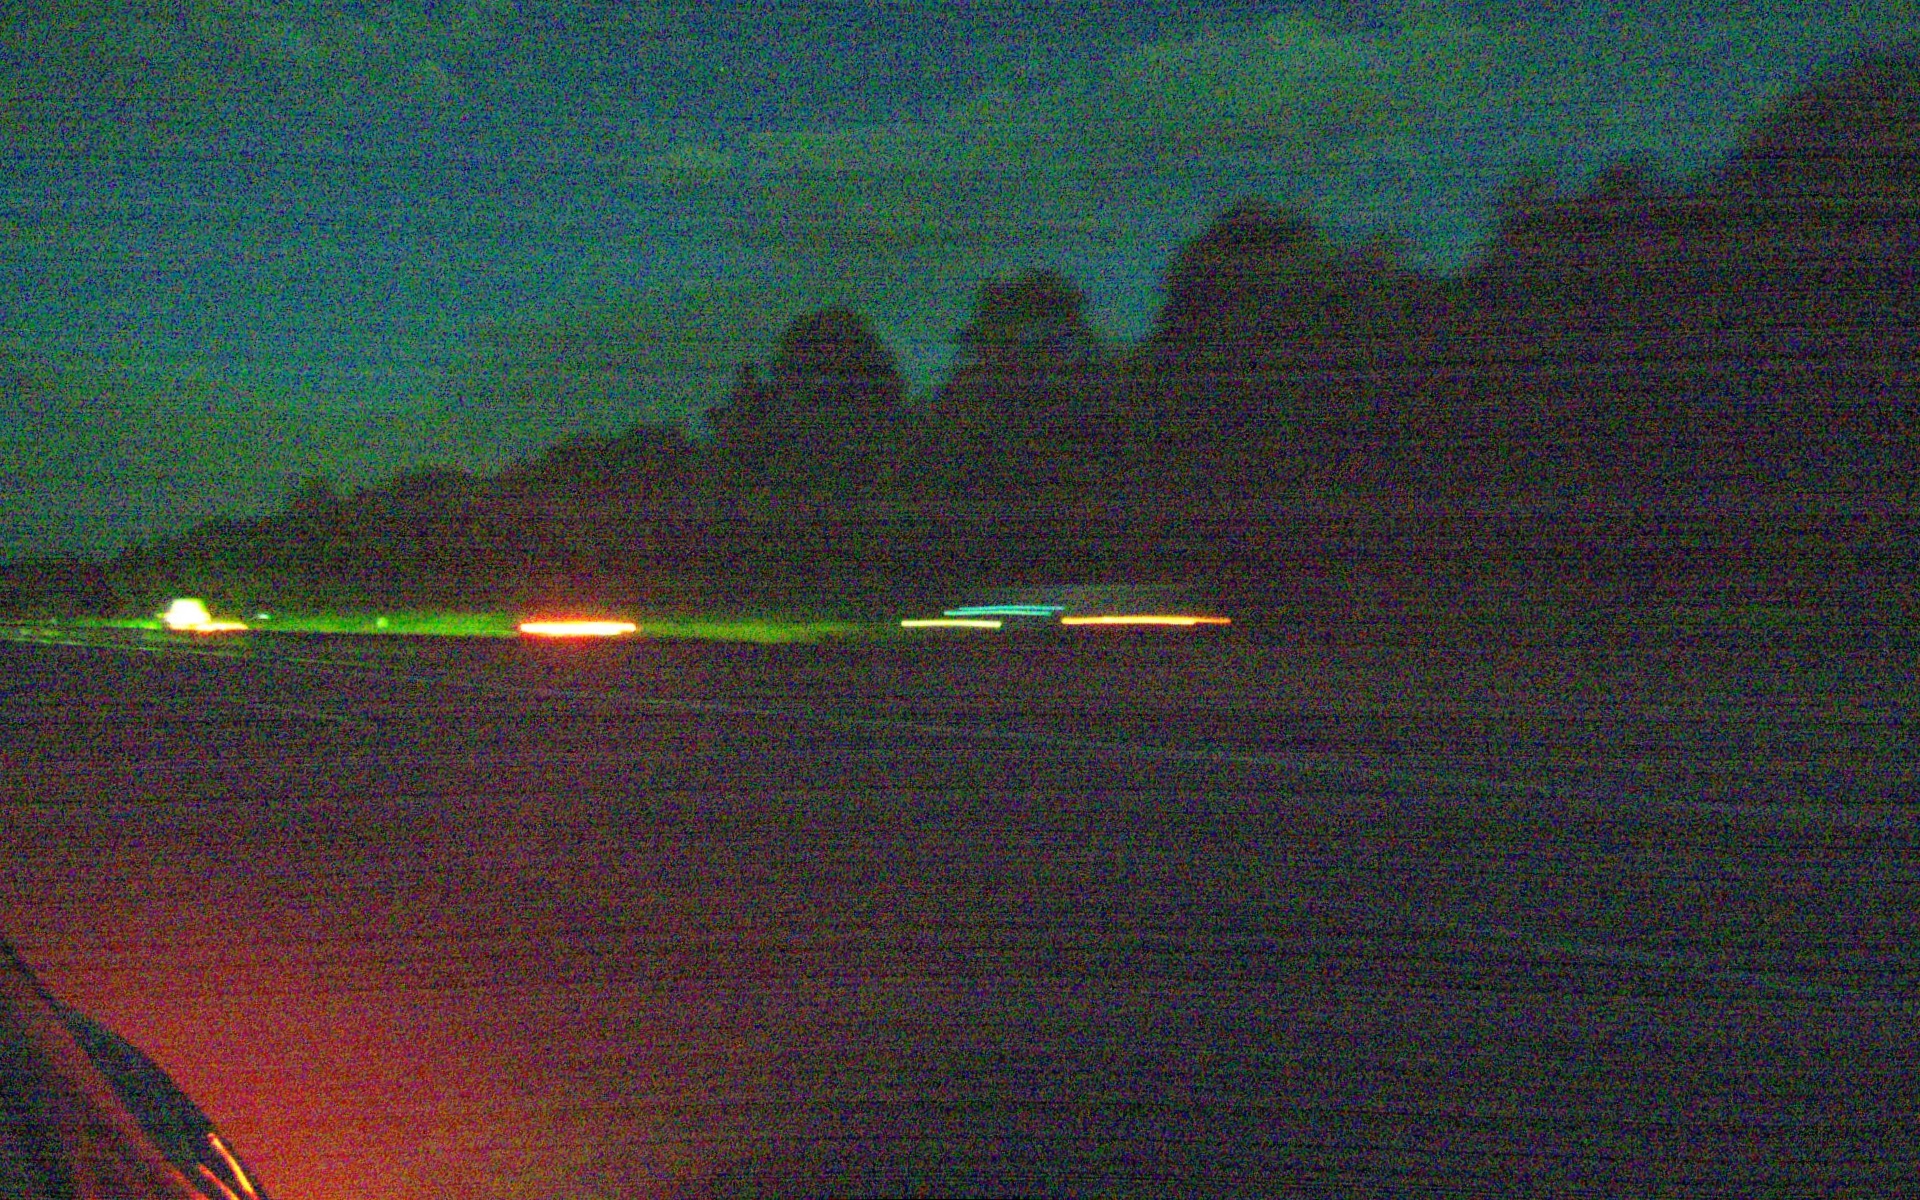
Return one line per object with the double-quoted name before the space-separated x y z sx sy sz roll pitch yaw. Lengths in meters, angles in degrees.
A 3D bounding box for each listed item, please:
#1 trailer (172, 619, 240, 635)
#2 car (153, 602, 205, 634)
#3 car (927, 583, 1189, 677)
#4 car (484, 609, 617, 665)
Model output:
"trailer" -58.256 2.060 78.091 8.070 1.112 2.390 -1 0 40
"car" -63.812 1.425 82.663 6.237 2.506 2.061 -1 0 40
"car" 2.016 0.606 22.347 5.685 1.835 1.973 -1 0 41
"car" -12.079 1.042 29.767 4.271 1.516 1.883 -1 0 40
